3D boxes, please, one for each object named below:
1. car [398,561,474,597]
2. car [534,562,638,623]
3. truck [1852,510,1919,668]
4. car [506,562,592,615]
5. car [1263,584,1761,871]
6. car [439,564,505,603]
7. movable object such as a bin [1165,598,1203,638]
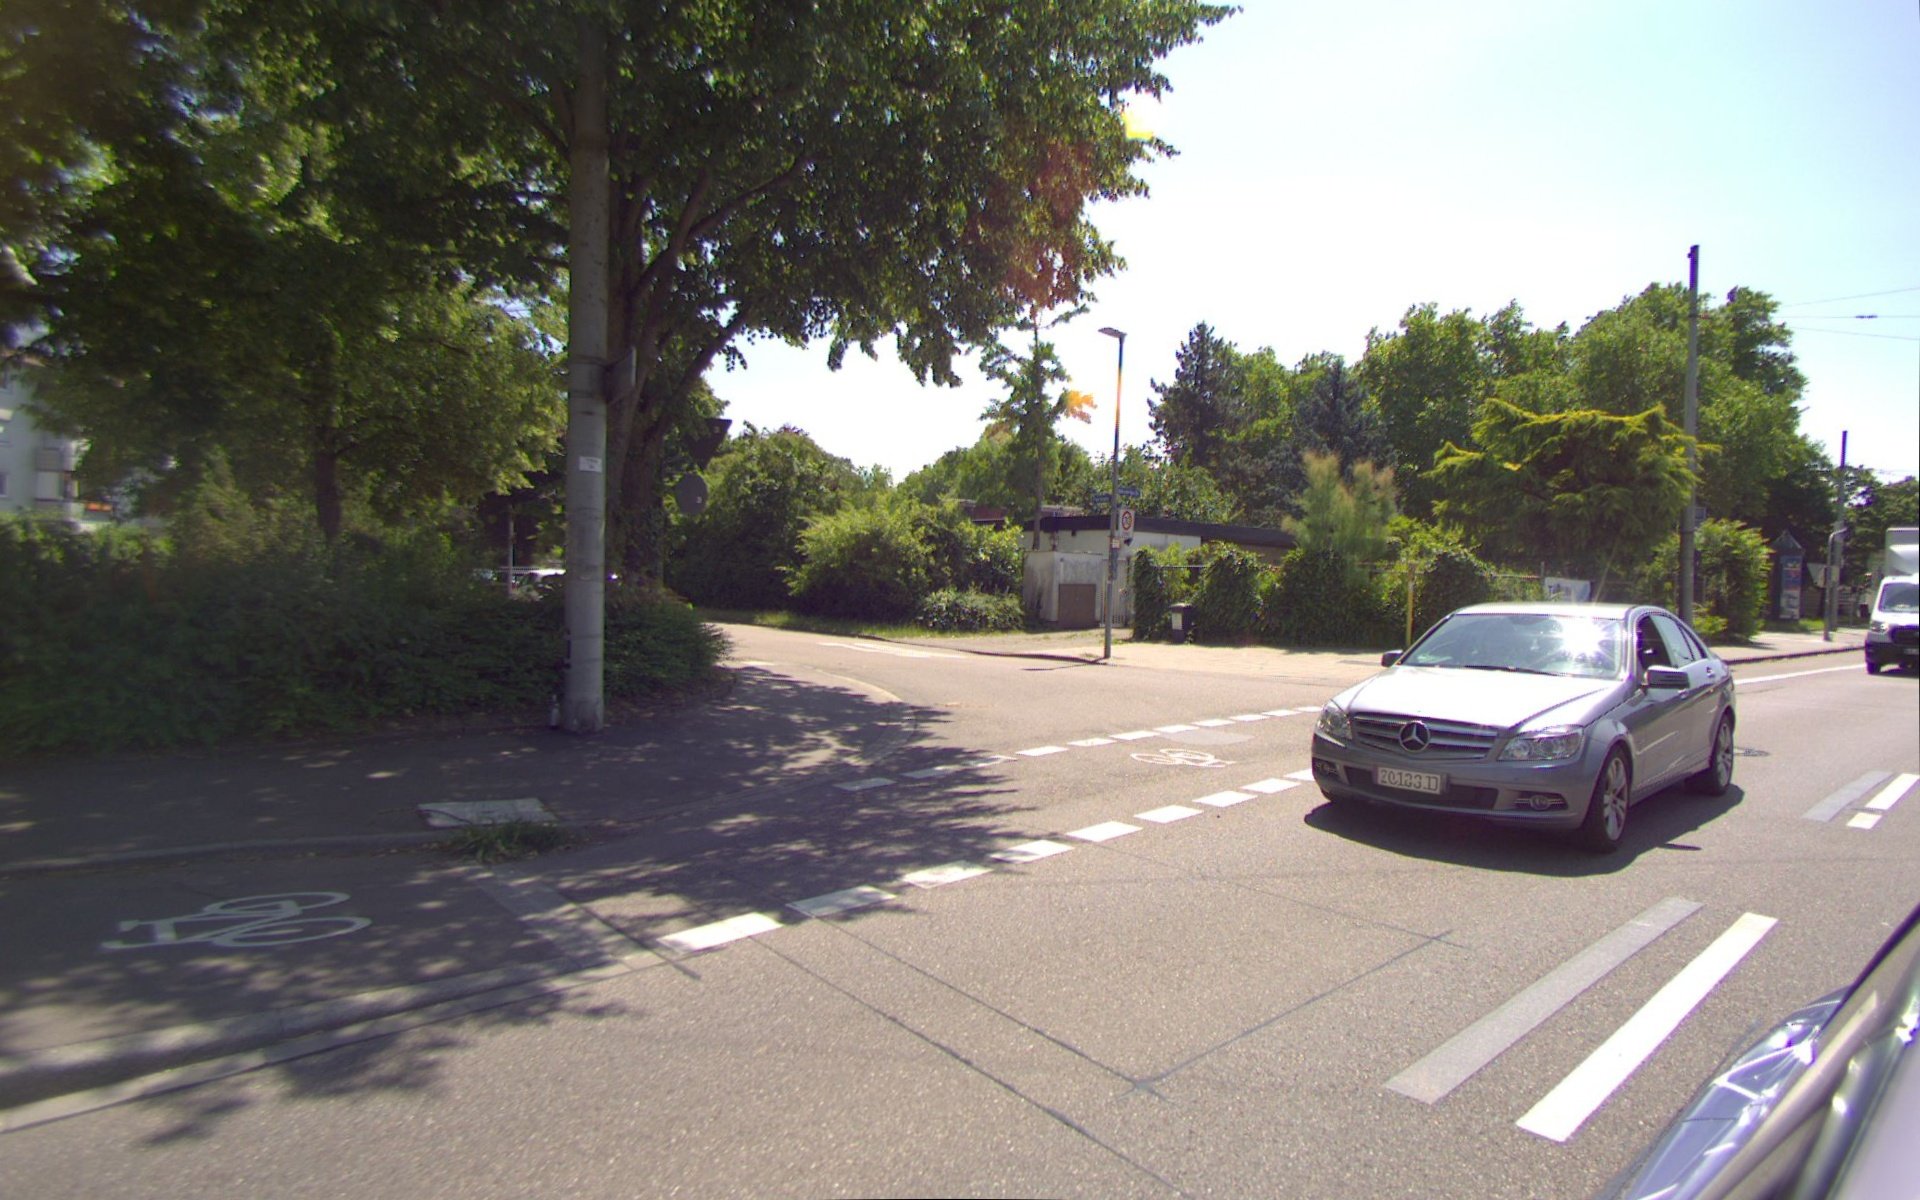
[{"bbox_3d":[-22.793,-0.916,43.957,1.966,1.456,3.993,0,2,-42],"label":"car"},{"bbox_3d":[-10.452,-0.259,28.094,1.693,1.559,4.000,0,2,-36],"label":"car"},{"bbox_3d":[23.350,-0.224,23.638,8.160,3.319,2.295,0,1,-38],"label":"truck"},{"bbox_3d":[-12.801,-0.388,31.407,1.622,1.523,3.646,0,2,-36],"label":"car"},{"bbox_3d":[4.116,0.639,7.301,3.901,1.478,1.902,-1,2,-41],"label":"car"},{"bbox_3d":[-18.969,-0.659,39.251,1.662,1.432,3.729,0,2,-36],"label":"car"},{"bbox_3d":[5.376,0.429,24.299,0.626,0.914,0.631,0,1,-38],"label":"movable object such as a bin"}]
